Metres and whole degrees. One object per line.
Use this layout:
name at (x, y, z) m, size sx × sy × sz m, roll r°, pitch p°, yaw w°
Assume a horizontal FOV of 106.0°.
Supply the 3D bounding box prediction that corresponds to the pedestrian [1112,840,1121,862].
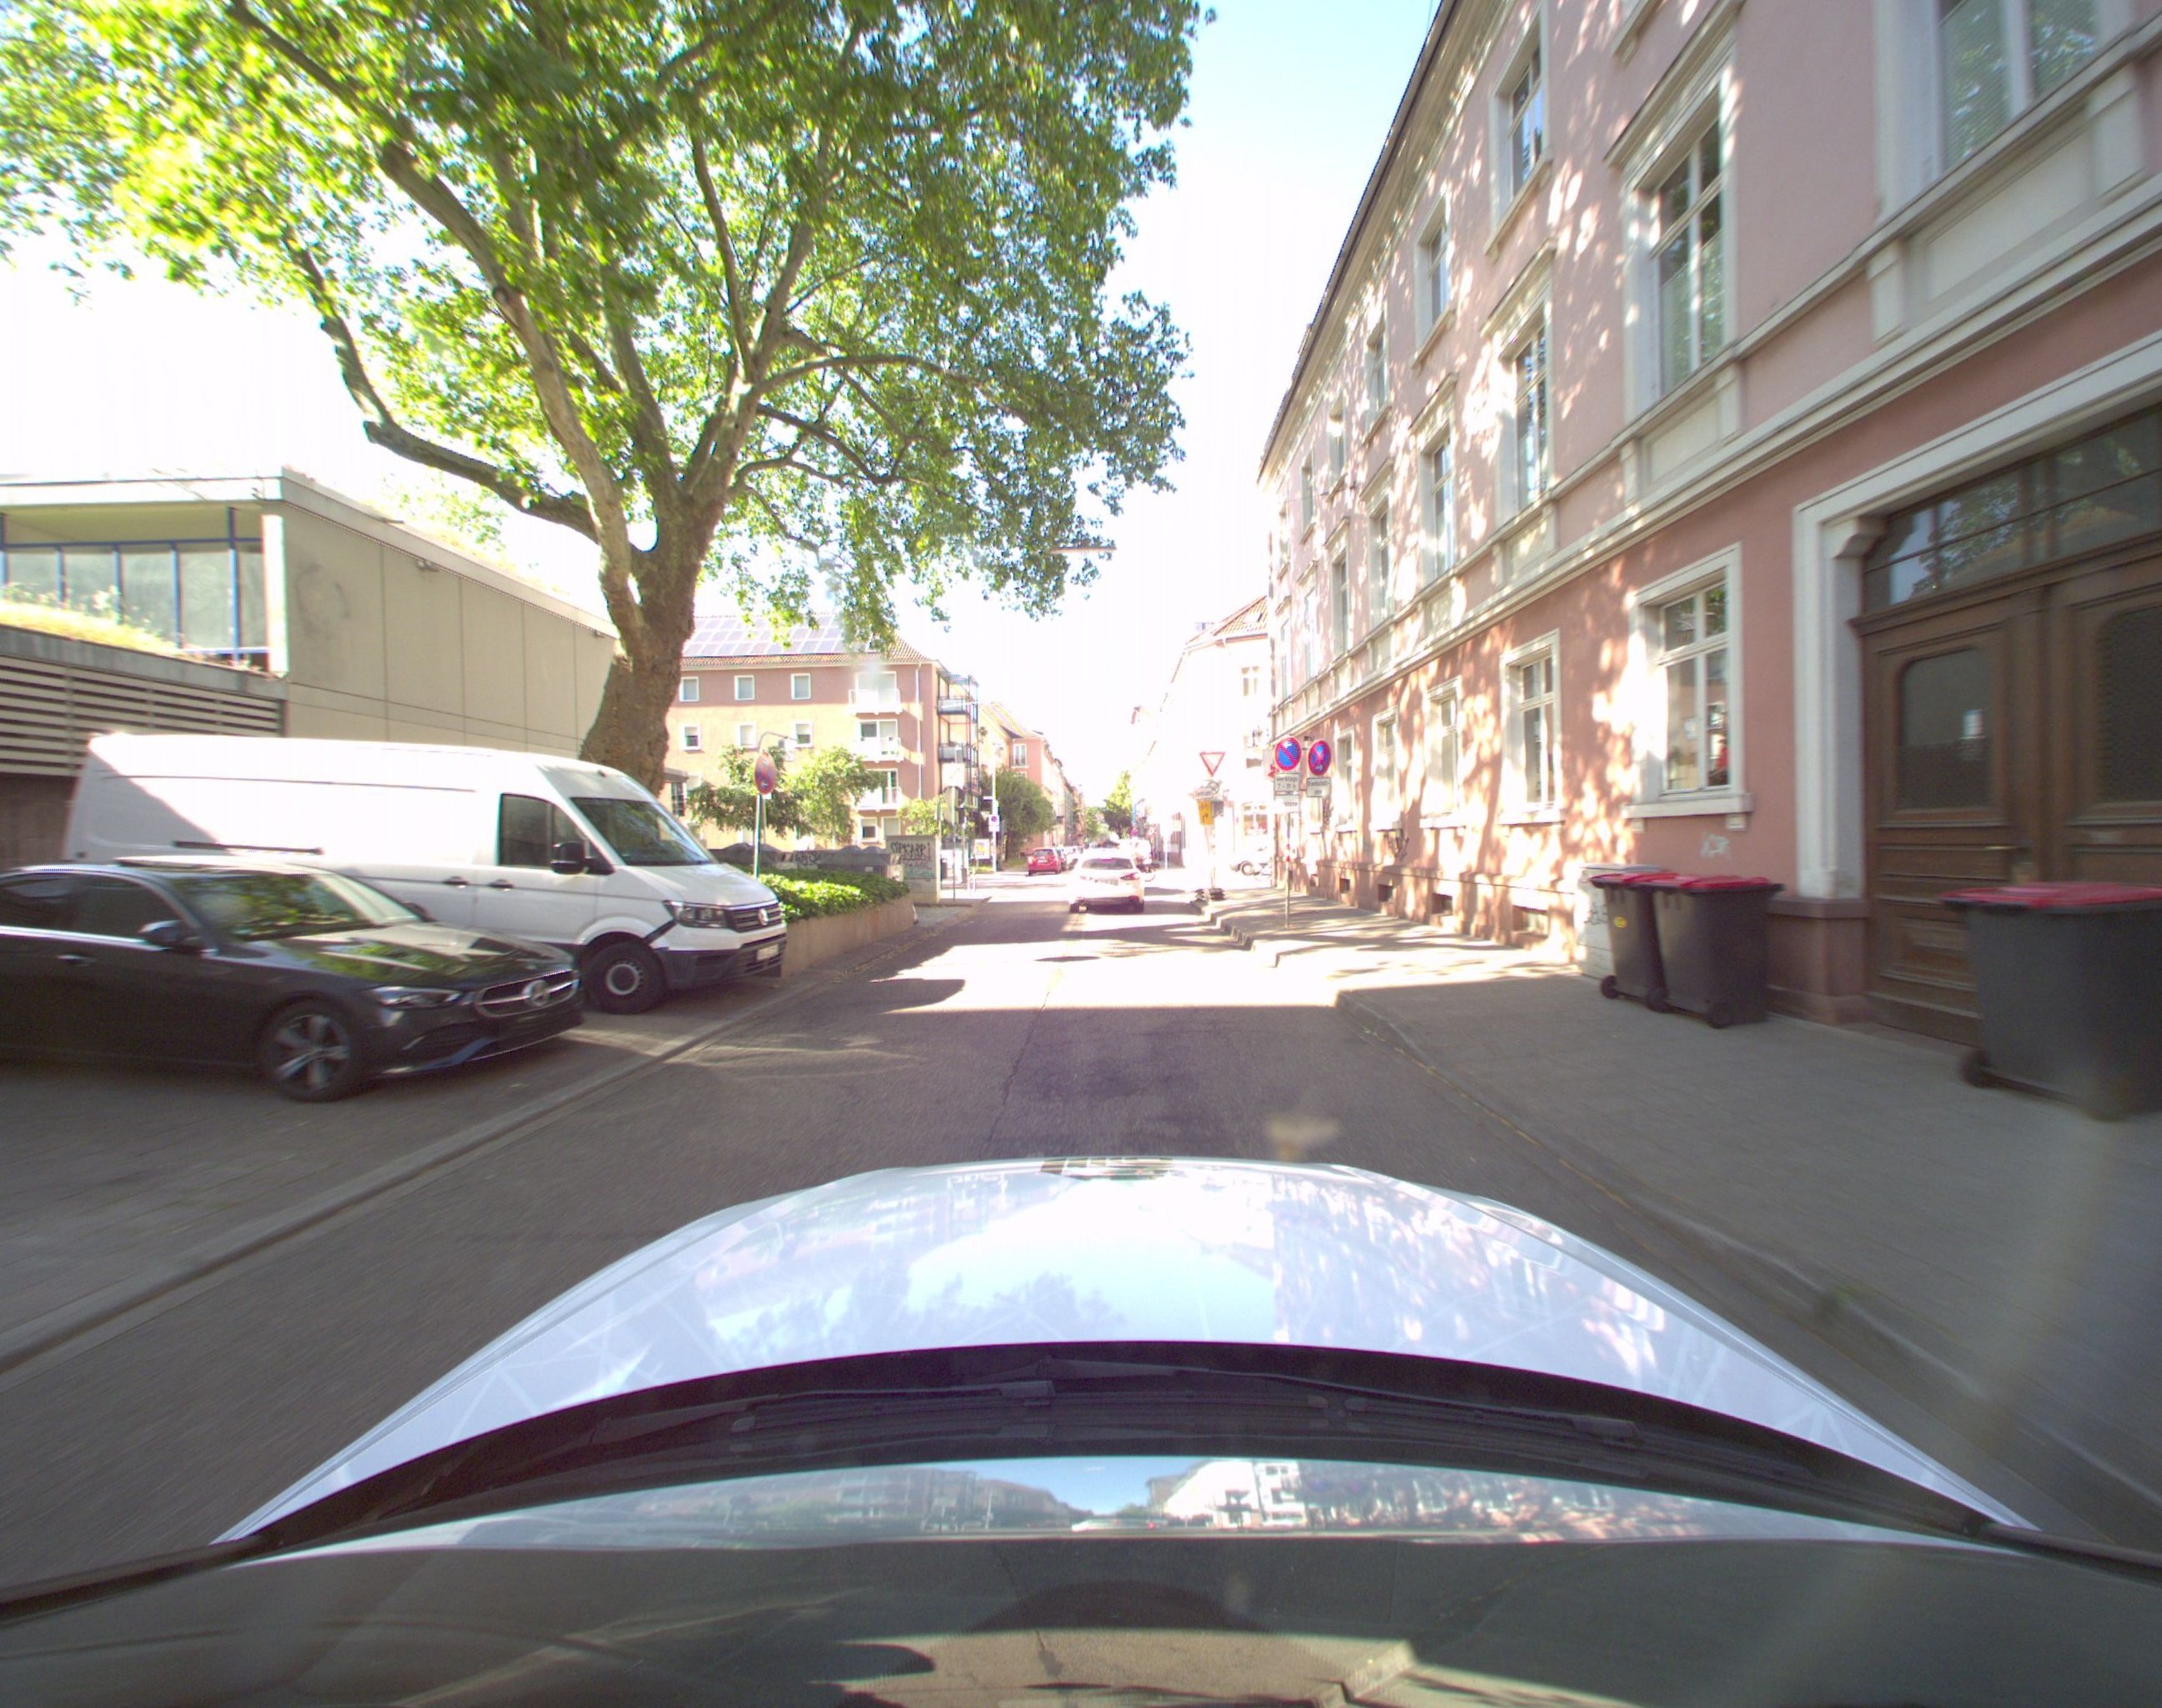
pedestrian at (3.403, -0.285, 78.705) m, size 0.768 × 2.118 × 0.835 m, roll -2°, pitch 0°, yaw 2°

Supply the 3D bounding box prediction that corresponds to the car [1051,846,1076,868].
car at (-1.339, 0.233, 63.489) m, size 1.713 × 1.576 × 3.728 m, roll -2°, pitch 0°, yaw 2°

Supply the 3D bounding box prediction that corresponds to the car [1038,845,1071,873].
car at (-1.618, 0.291, 51.186) m, size 1.713 × 1.682 × 3.728 m, roll -2°, pitch 0°, yaw 2°

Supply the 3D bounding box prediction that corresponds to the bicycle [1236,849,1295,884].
bicycle at (7.145, 0.484, 31.575) m, size 2.149 × 1.255 × 0.836 m, roll -2°, pitch 0°, yaw 11°

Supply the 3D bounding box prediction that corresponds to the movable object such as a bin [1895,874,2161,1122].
movable object such as a bin at (4.821, 0.670, 4.101) m, size 0.727 × 1.104 × 0.693 m, roll -2°, pitch 0°, yaw -1°

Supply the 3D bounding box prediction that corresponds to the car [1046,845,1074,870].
car at (-1.442, 0.263, 56.700) m, size 1.629 × 1.656 × 3.787 m, roll -2°, pitch 0°, yaw 2°

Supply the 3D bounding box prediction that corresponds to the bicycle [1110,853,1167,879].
bicycle at (2.562, 0.537, 36.122) m, size 2.408 × 1.080 × 0.793 m, roll -2°, pitch 0°, yaw 13°

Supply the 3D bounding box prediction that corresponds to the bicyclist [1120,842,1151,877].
bicyclist at (2.423, 0.246, 36.135) m, size 1.187 × 1.516 × 0.844 m, roll -2°, pitch 0°, yaw 14°

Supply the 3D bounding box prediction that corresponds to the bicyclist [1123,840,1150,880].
bicyclist at (2.218, 0.243, 32.608) m, size 0.980 × 1.553 × 0.760 m, roll -2°, pitch 0°, yaw -2°

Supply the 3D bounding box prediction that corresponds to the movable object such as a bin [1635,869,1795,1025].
movable object such as a bin at (4.678, 0.666, 6.050) m, size 0.698 × 1.073 × 0.597 m, roll -2°, pitch 0°, yaw 3°

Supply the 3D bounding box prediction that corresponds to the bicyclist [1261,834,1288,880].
bicyclist at (7.483, 0.120, 31.543) m, size 0.918 × 1.720 × 0.946 m, roll -2°, pitch 0°, yaw 12°

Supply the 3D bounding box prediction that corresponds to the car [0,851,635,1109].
car at (-6.127, 0.777, 6.097) m, size 4.481 × 1.470 × 1.930 m, roll 2°, pitch 0°, yaw 2°

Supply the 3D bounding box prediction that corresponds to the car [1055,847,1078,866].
car at (-1.170, 0.236, 67.500) m, size 1.595 × 1.477 × 3.569 m, roll -2°, pitch 0°, yaw 2°

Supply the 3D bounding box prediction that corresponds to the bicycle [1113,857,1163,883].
bicycle at (2.284, 0.632, 32.599) m, size 1.922 × 0.986 × 0.663 m, roll -2°, pitch 0°, yaw -1°

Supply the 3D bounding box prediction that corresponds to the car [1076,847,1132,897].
car at (0.747, 0.551, 26.784) m, size 1.676 × 1.481 × 3.662 m, roll -2°, pitch 0°, yaw 1°

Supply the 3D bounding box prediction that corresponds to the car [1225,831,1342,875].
car at (9.265, -0.002, 37.239) m, size 4.844 × 1.928 × 2.012 m, roll -1°, pitch -2°, yaw 26°

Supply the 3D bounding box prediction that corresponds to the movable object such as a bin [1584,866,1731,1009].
movable object such as a bin at (4.699, 0.659, 6.682) m, size 0.742 × 1.086 × 0.635 m, roll -2°, pitch 0°, yaw 3°

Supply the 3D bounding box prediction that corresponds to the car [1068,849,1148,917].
car at (0.665, 0.659, 20.636) m, size 1.817 × 1.514 × 3.824 m, roll -1°, pitch 1°, yaw 1°

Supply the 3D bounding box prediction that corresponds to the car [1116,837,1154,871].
car at (3.163, -0.015, 48.700) m, size 1.937 × 1.948 × 4.077 m, roll -1°, pitch 0°, yaw -1°

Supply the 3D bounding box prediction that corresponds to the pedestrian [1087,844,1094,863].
pedestrian at (0.964, -0.029, 80.397) m, size 0.645 × 1.797 × 0.639 m, roll -2°, pitch 0°, yaw 2°

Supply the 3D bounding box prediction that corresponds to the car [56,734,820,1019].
car at (-6.606, 0.186, 8.907) m, size 6.710 × 2.555 × 2.147 m, roll 2°, pitch 0°, yaw 3°

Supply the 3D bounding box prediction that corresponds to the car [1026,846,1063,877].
car at (-1.989, 0.383, 45.592) m, size 1.763 × 1.588 × 3.727 m, roll -2°, pitch 1°, yaw 1°

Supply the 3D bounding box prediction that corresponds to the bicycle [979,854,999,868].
bicycle at (-6.434, 0.482, 56.981) m, size 0.607 × 0.932 × 1.896 m, roll -1°, pitch 0°, yaw -31°

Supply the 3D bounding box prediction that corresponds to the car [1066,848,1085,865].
car at (-0.536, 0.217, 77.801) m, size 1.566 × 1.585 × 3.613 m, roll -2°, pitch 0°, yaw 2°
